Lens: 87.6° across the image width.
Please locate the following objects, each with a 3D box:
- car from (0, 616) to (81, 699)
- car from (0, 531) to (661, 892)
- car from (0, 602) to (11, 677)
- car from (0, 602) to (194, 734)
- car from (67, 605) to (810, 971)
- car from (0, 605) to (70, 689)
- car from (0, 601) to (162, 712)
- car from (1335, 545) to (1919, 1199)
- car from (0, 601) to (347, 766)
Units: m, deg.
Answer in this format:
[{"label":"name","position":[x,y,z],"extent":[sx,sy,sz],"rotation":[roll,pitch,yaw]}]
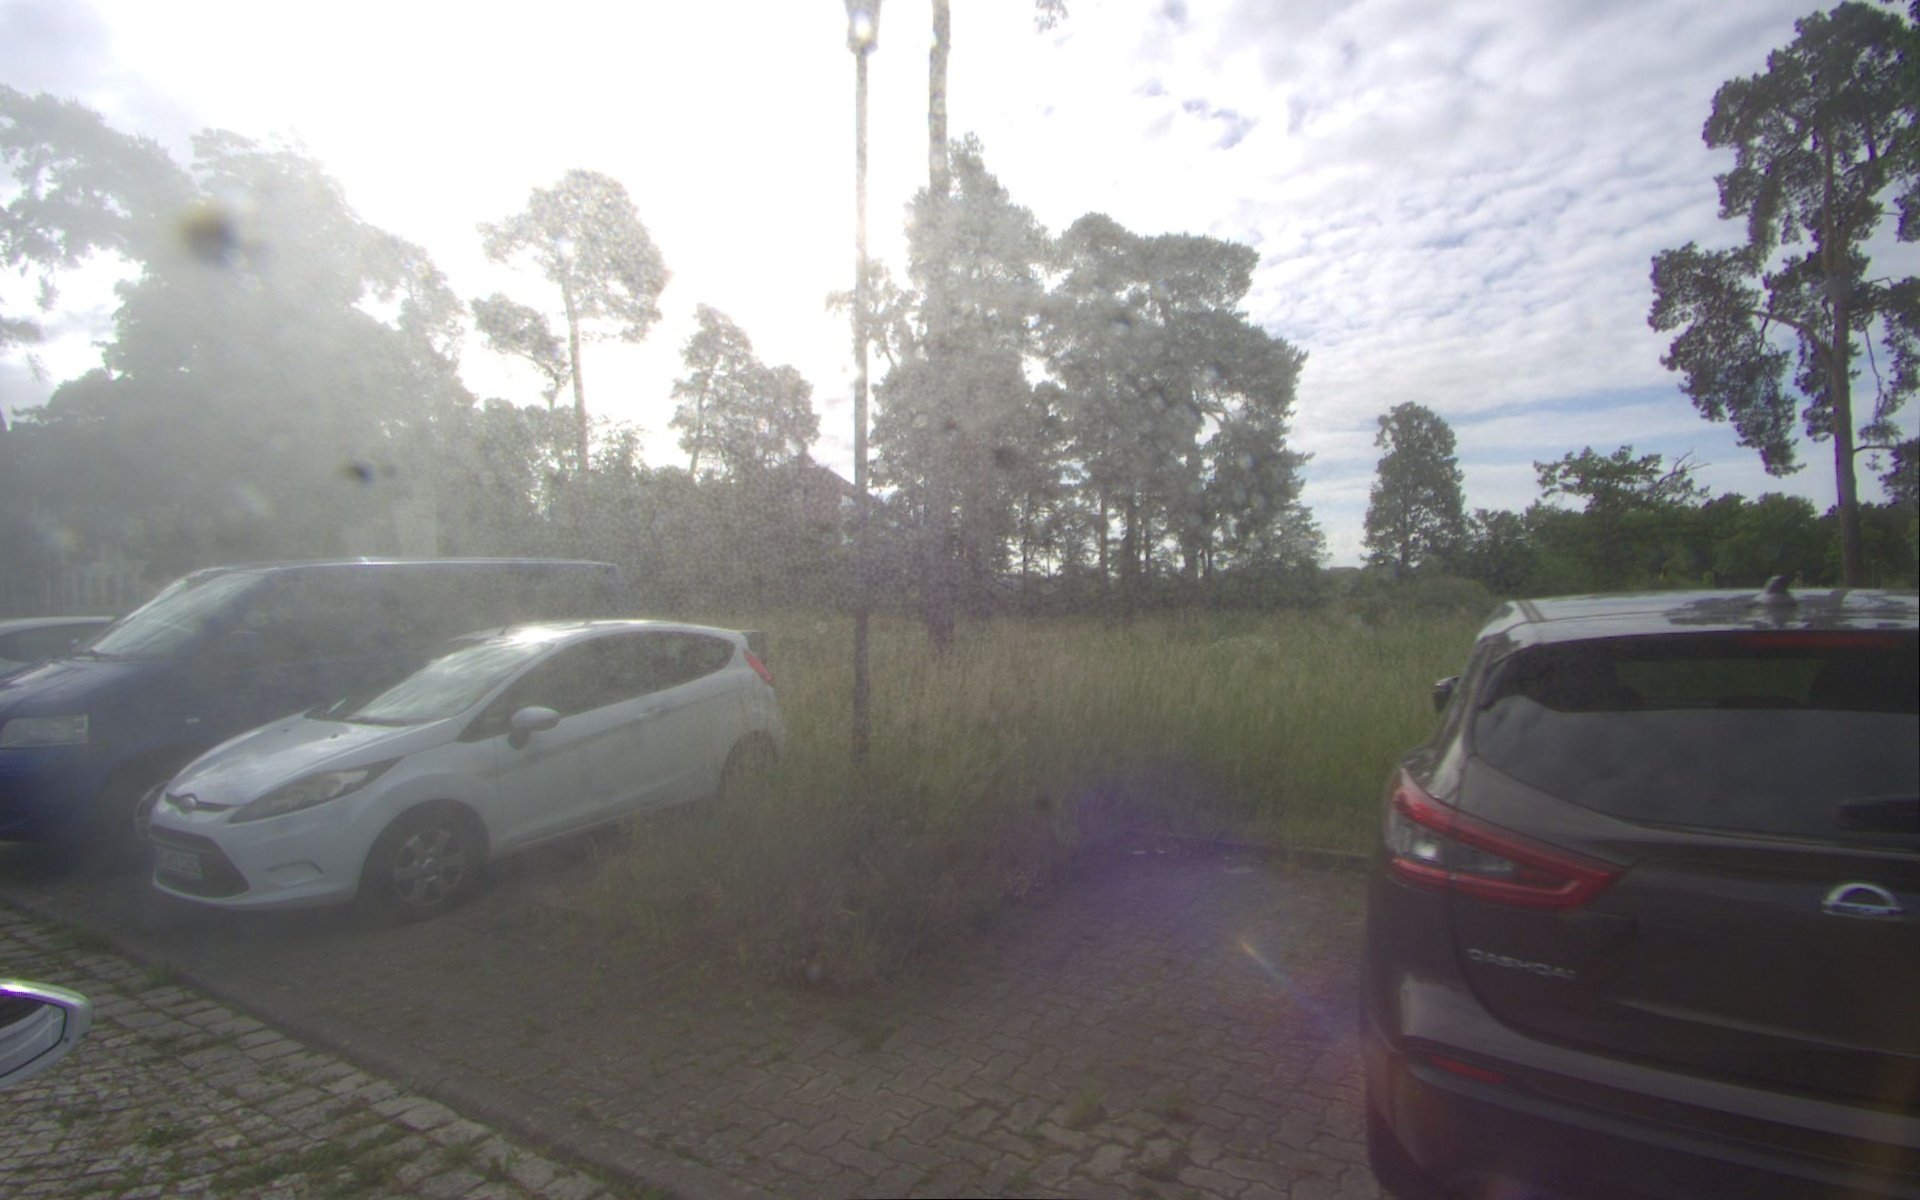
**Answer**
[{"label":"car","position":[-16.188,0.940,15.256],"extent":[1.732,1.253,3.854],"rotation":[0,1,31]},{"label":"car","position":[-4.920,0.564,7.948],"extent":[1.974,1.972,4.798],"rotation":[0,1,31]},{"label":"car","position":[-20.190,0.815,17.805],"extent":[1.840,1.436,4.422],"rotation":[0,1,23]},{"label":"car","position":[-11.898,0.813,12.062],"extent":[1.732,1.492,3.854],"rotation":[0,1,31]},{"label":"car","position":[-2.914,0.826,6.449],"extent":[1.814,1.492,3.854],"rotation":[0,1,31]},{"label":"car","position":[-18.111,0.859,16.912],"extent":[1.844,1.436,4.252],"rotation":[0,1,32]},{"label":"car","position":[-13.936,0.798,14.086],"extent":[1.732,1.492,3.854],"rotation":[0,1,31]},{"label":"car","position":[2.643,0.691,3.464],"extent":[1.795,1.620,4.252],"rotation":[0,1,31]},{"label":"car","position":[-9.226,0.807,11.010],"extent":[1.732,1.492,3.854],"rotation":[0,1,31]}]
